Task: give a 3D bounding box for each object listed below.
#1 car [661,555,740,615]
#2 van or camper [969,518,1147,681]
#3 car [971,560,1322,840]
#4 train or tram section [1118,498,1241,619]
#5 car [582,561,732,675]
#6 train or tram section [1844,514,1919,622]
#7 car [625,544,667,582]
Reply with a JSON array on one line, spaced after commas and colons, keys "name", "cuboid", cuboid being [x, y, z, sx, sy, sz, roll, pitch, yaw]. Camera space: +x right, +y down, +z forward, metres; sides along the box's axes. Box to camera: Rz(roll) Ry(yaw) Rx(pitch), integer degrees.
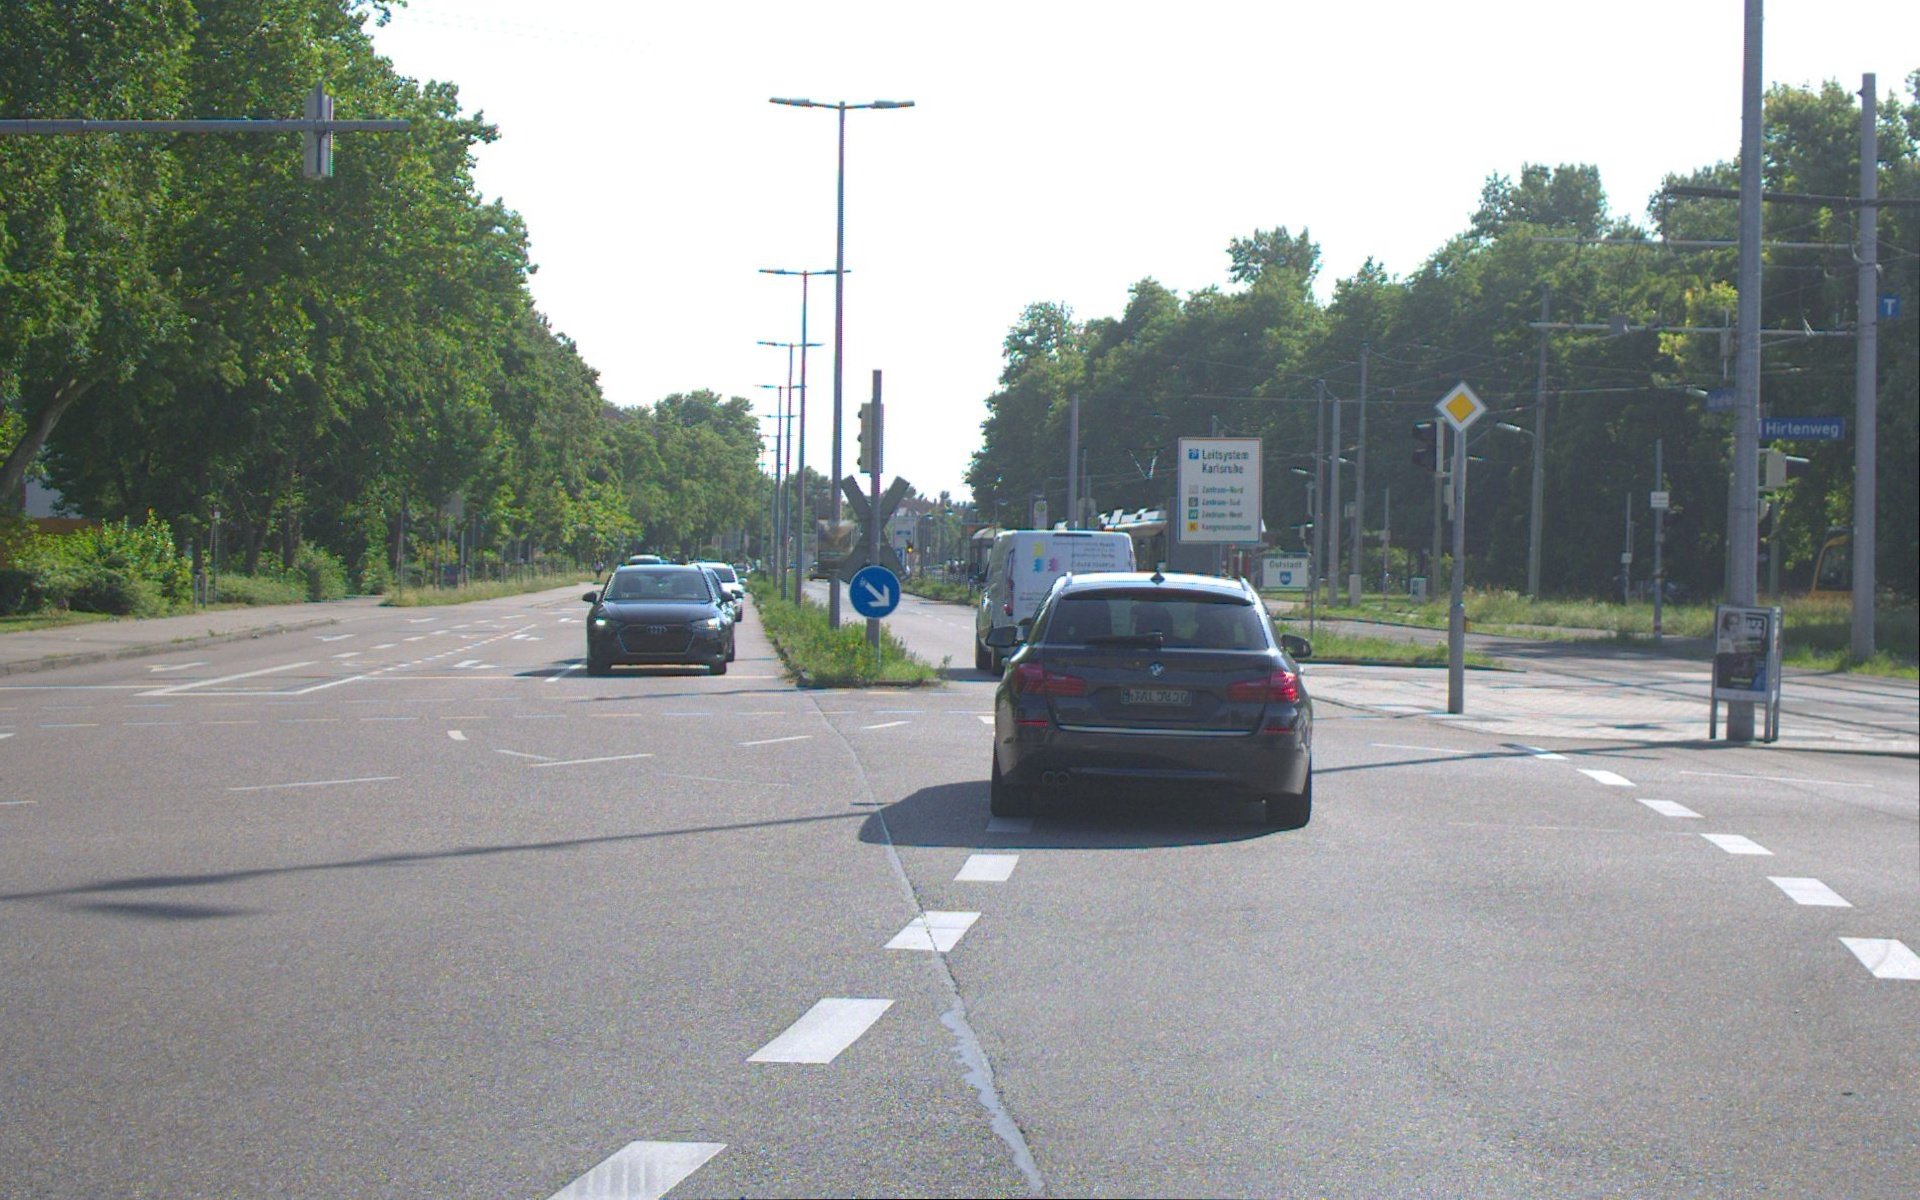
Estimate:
[{"name": "car", "cuboid": [-6.685, -0.404, 88.806, 1.848, 1.472, 4.646, 1, 1, -2]}, {"name": "van or camper", "cuboid": [1.295, -0.035, 47.298, 1.993, 2.089, 4.599, 1, 1, -4]}, {"name": "car", "cuboid": [1.084, 0.527, 20.984, 1.903, 1.500, 4.065, 1, 1, 2]}, {"name": "train or tram section", "cuboid": [6.980, -1.280, 111.117, 2.796, 3.606, 12.956, 2, 0, -1]}, {"name": "car", "cuboid": [-3.969, 0.195, 45.576, 1.829, 1.426, 4.732, 0, 1, -3]}, {"name": "train or tram section", "cuboid": [35.976, -0.976, 114.141, 12.417, 3.567, 3.049, 2, 1, 27]}, {"name": "car", "cuboid": [-14.733, -1.745, 161.370, 1.788, 1.766, 4.570, 1, 1, -3]}]
